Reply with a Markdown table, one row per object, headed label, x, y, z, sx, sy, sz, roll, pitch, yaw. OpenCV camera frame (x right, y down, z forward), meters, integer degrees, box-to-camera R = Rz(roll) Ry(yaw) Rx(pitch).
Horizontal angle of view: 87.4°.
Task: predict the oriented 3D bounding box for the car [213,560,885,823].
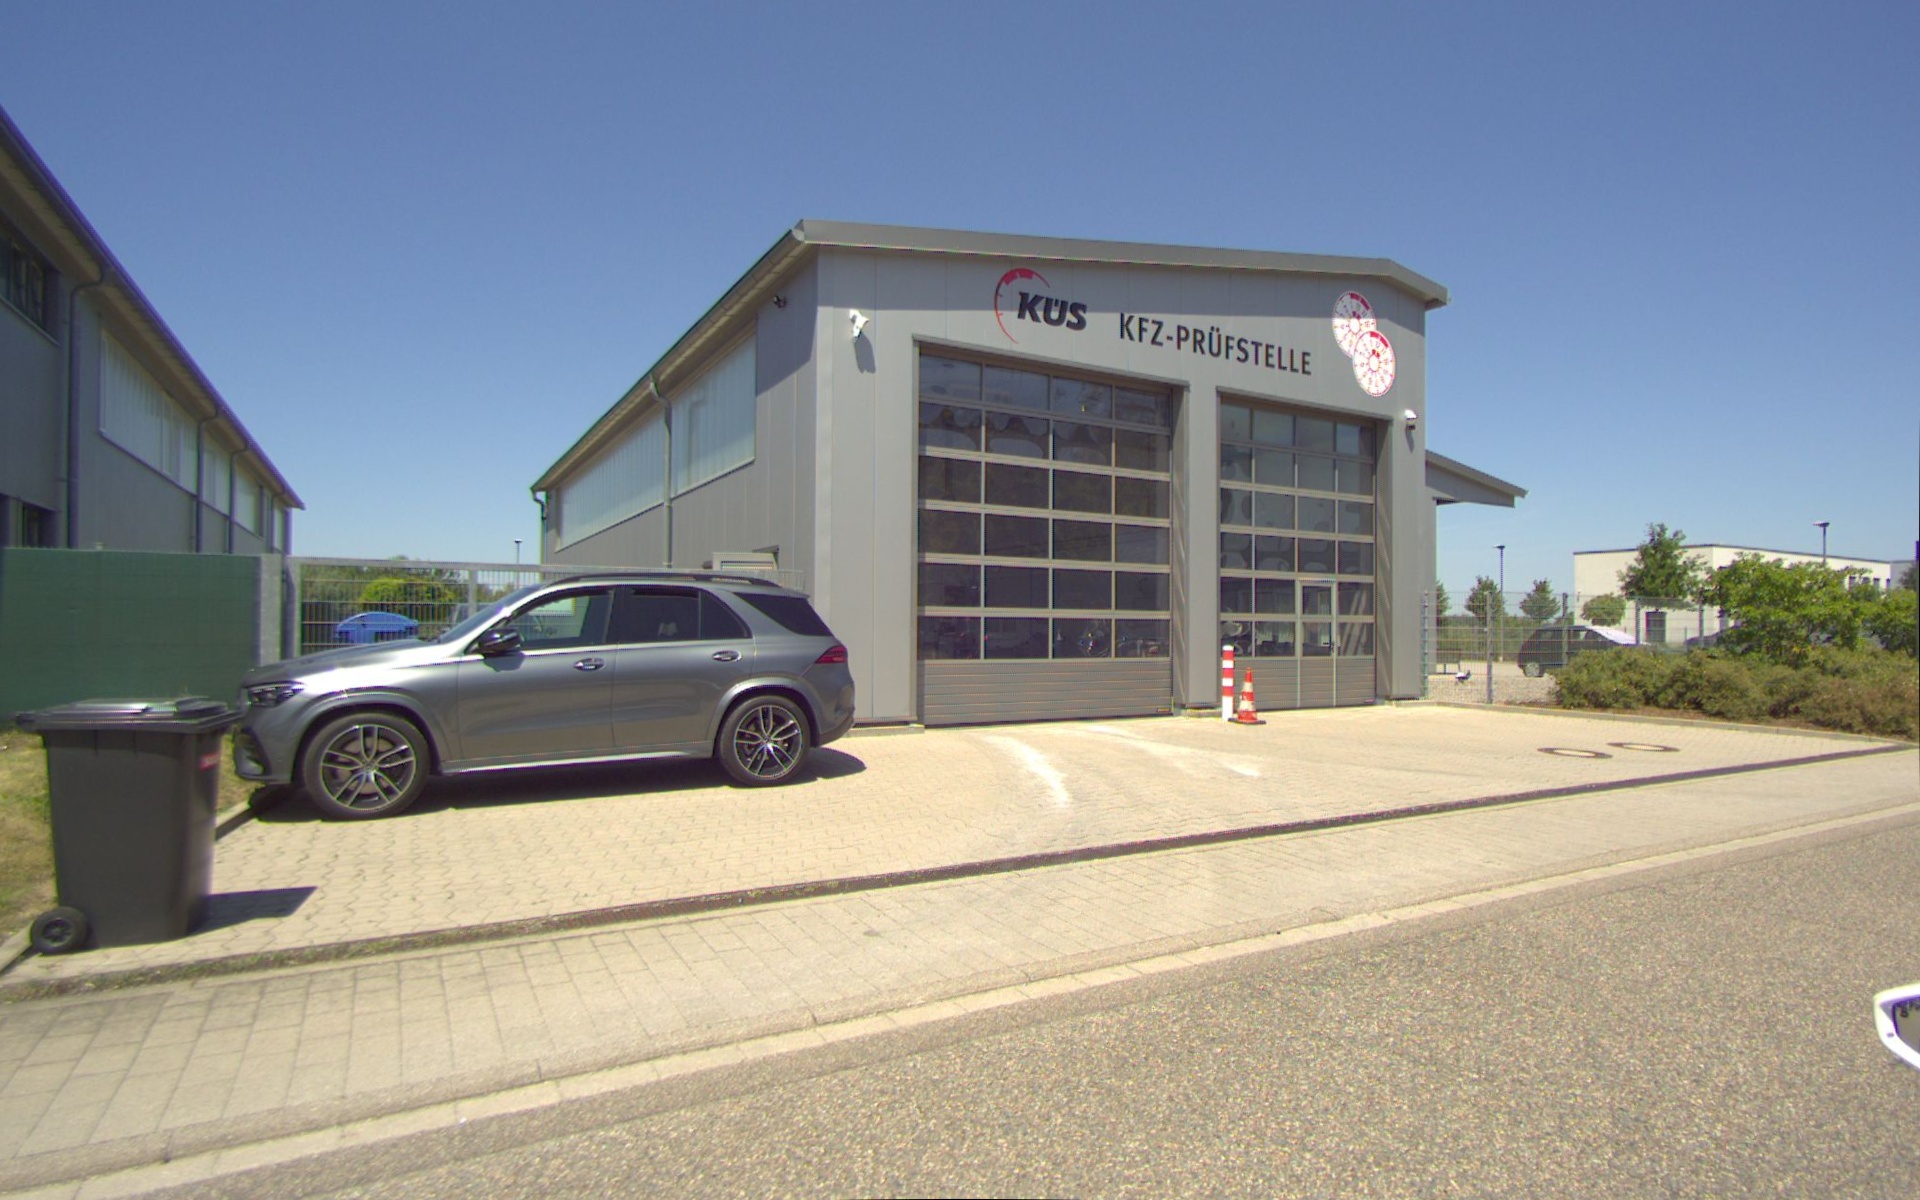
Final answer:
| label | x | y | z | sx | sy | sz | roll | pitch | yaw |
| --- | --- | --- | --- | --- | --- | --- | --- | --- | --- |
| car | -3.266 | 0.622 | 8.711 | 4.848 | 1.759 | 1.987 | 0 | 0 | -27 |

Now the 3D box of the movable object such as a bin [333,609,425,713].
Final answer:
| label | x | y | z | sx | sy | sz | roll | pitch | yaw |
| --- | --- | --- | --- | --- | --- | --- | --- | --- | --- |
| movable object such as a bin | -8.505 | 0.854 | 14.692 | 1.137 | 1.434 | 1.016 | 0 | 0 | -33 |

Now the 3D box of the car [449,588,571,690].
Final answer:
| label | x | y | z | sx | sy | sz | roll | pitch | yaw |
| --- | --- | --- | --- | --- | --- | --- | --- | --- | --- |
| car | -9.047 | 0.667 | 19.957 | 1.974 | 1.759 | 4.878 | 0 | 0 | -27 |

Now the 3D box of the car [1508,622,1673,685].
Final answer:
| label | x | y | z | sx | sy | sz | roll | pitch | yaw |
| --- | --- | --- | --- | --- | --- | --- | --- | --- | --- |
| car | 16.951 | 1.387 | 27.136 | 1.542 | 1.572 | 3.479 | 1 | -2 | -34 |

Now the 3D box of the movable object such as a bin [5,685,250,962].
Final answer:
| label | x | y | z | sx | sy | sz | roll | pitch | yaw |
| --- | --- | --- | --- | --- | --- | --- | --- | --- | --- |
| movable object such as a bin | -3.754 | 0.960 | 4.593 | 0.756 | 1.080 | 0.576 | 1 | 1 | -30 |
